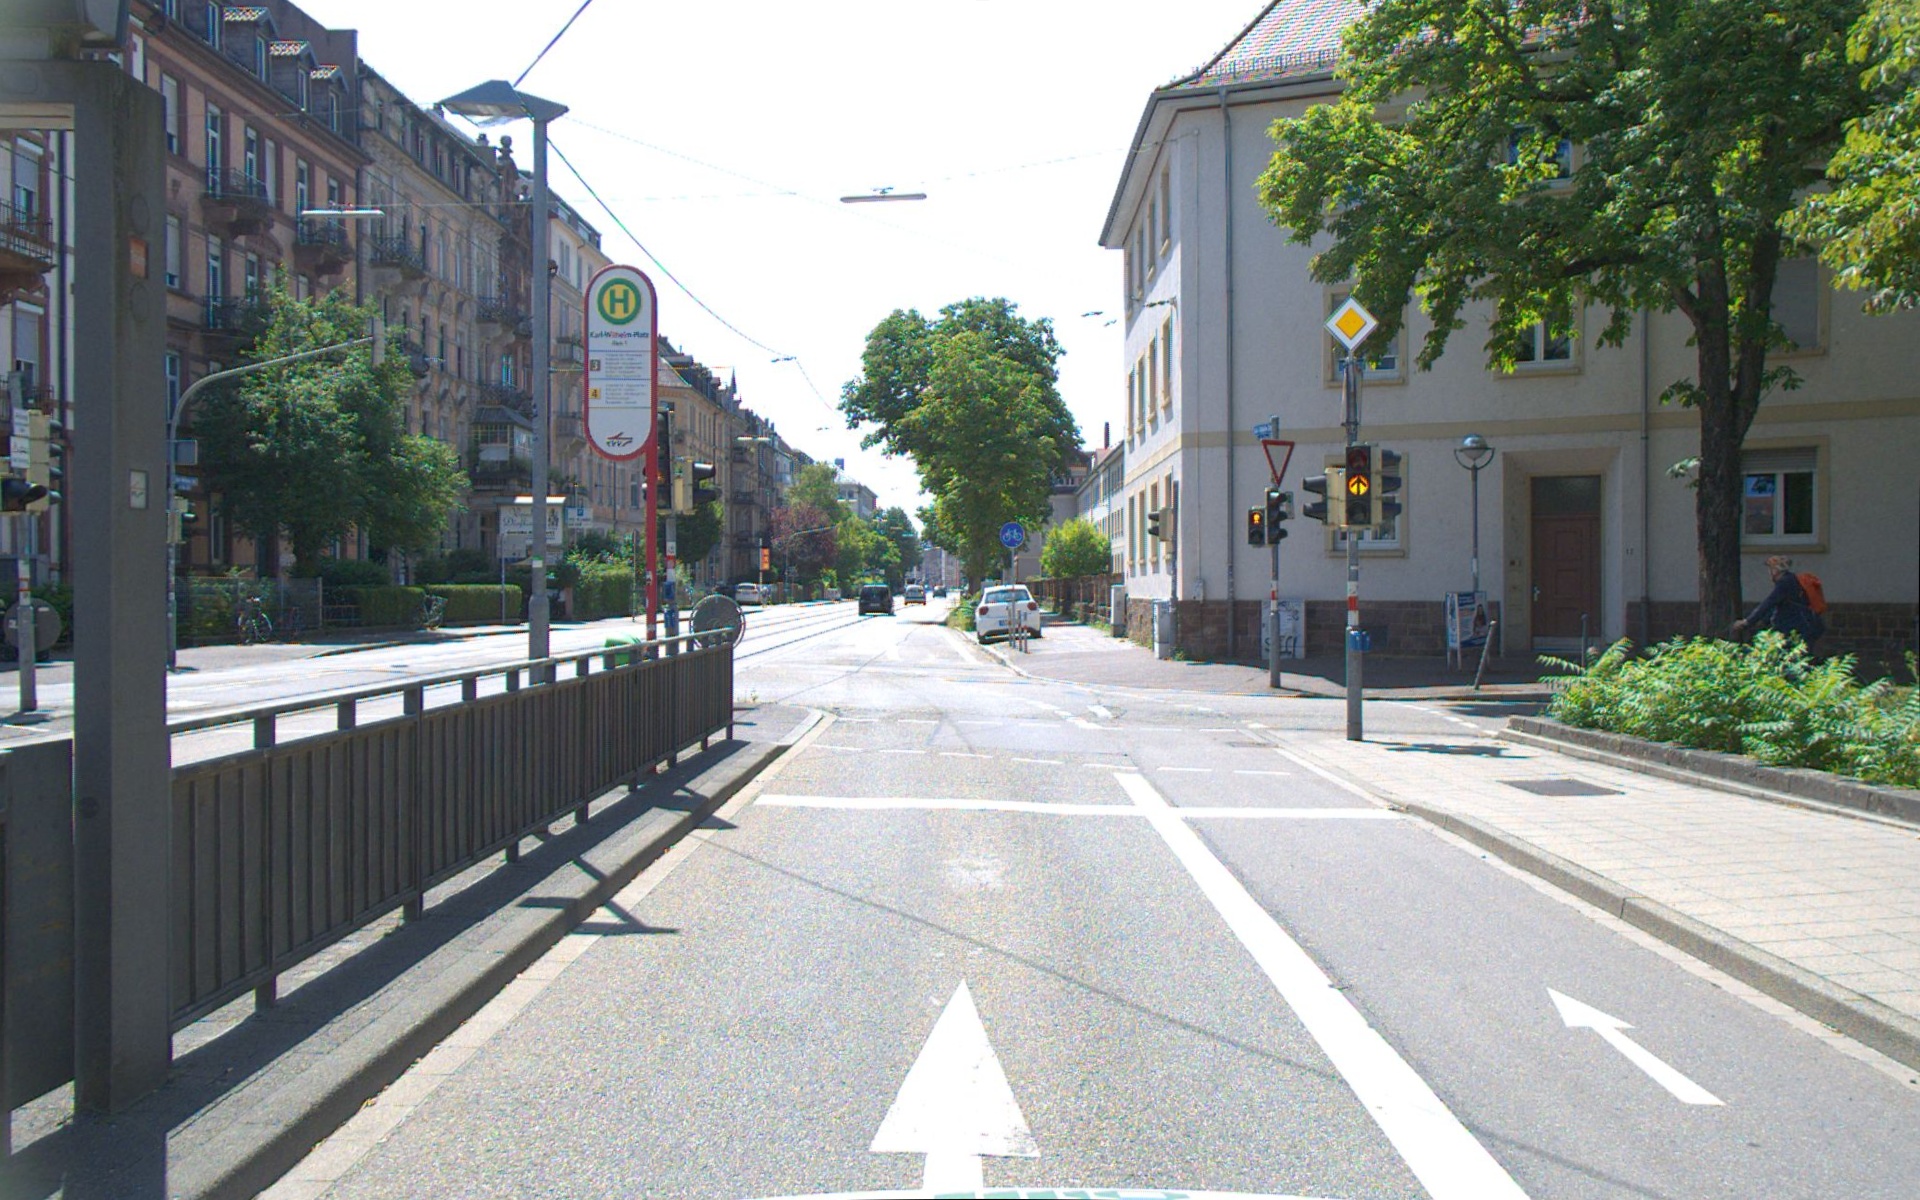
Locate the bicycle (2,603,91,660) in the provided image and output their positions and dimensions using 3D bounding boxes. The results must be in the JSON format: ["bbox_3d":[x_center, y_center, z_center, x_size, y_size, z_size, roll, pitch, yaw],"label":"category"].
[{"bbox_3d":[-17.169,0.592,31.087,1.390,1.031,0.383,3,-2,-41],"label":"bicycle"}]

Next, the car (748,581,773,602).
[{"bbox_3d":[-15.850,-0.667,131.571,1.596,1.498,3.562,-3,0,-2],"label":"car"}]

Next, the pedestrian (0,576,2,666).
[{"bbox_3d":[-17.879,0.378,30.126,0.648,1.643,0.462,1,2,-42],"label":"pedestrian"}]

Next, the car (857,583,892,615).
[{"bbox_3d":[-4.152,-0.054,80.563,1.493,1.469,3.365,-2,0,0],"label":"car"}]

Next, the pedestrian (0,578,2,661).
[{"bbox_3d":[-18.296,0.362,31.007,0.503,1.543,0.462,1,0,-42],"label":"pedestrian"}]

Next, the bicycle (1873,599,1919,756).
[{"bbox_3d":[7.217,0.570,12.121,0.326,1.147,1.287,0,-1,0],"label":"bicycle"}]

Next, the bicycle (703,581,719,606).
[{"bbox_3d":[-14.409,-0.351,95.714,0.565,1.412,2.501,1,0,-1],"label":"bicycle"}]

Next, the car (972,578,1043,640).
[{"bbox_3d":[1.250,0.233,44.826,1.712,1.498,3.938,-3,0,-1],"label":"car"}]

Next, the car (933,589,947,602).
[{"bbox_3d":[-2.588,-0.570,212.998,1.596,1.498,3.562,-3,0,-2],"label":"car"}]

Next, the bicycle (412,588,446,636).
[{"bbox_3d":[-15.477,0.342,48.165,0.584,1.380,2.420,1,0,-26],"label":"bicycle"}]

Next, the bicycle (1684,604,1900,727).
[{"bbox_3d":[9.008,0.681,17.949,2.044,1.258,0.579,1,0,34],"label":"bicycle"}]

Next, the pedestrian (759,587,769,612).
[{"bbox_3d":[-13.915,-0.005,117.489,0.664,1.758,0.677,1,0,-1],"label":"pedestrian"}]

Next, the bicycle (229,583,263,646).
[{"bbox_3d":[-16.468,0.323,38.104,0.607,1.420,2.288,1,0,-26],"label":"bicycle"}]

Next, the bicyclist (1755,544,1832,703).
[{"bbox_3d":[9.037,0.246,17.925,0.681,1.675,0.578,0,0,34],"label":"bicyclist"}]

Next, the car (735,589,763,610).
[{"bbox_3d":[-15.670,-0.033,123.199,1.650,1.498,3.936,-3,0,-2],"label":"car"}]

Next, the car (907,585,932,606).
[{"bbox_3d":[-3.084,-0.335,126.631,1.712,1.498,3.938,-3,0,-1],"label":"car"}]
